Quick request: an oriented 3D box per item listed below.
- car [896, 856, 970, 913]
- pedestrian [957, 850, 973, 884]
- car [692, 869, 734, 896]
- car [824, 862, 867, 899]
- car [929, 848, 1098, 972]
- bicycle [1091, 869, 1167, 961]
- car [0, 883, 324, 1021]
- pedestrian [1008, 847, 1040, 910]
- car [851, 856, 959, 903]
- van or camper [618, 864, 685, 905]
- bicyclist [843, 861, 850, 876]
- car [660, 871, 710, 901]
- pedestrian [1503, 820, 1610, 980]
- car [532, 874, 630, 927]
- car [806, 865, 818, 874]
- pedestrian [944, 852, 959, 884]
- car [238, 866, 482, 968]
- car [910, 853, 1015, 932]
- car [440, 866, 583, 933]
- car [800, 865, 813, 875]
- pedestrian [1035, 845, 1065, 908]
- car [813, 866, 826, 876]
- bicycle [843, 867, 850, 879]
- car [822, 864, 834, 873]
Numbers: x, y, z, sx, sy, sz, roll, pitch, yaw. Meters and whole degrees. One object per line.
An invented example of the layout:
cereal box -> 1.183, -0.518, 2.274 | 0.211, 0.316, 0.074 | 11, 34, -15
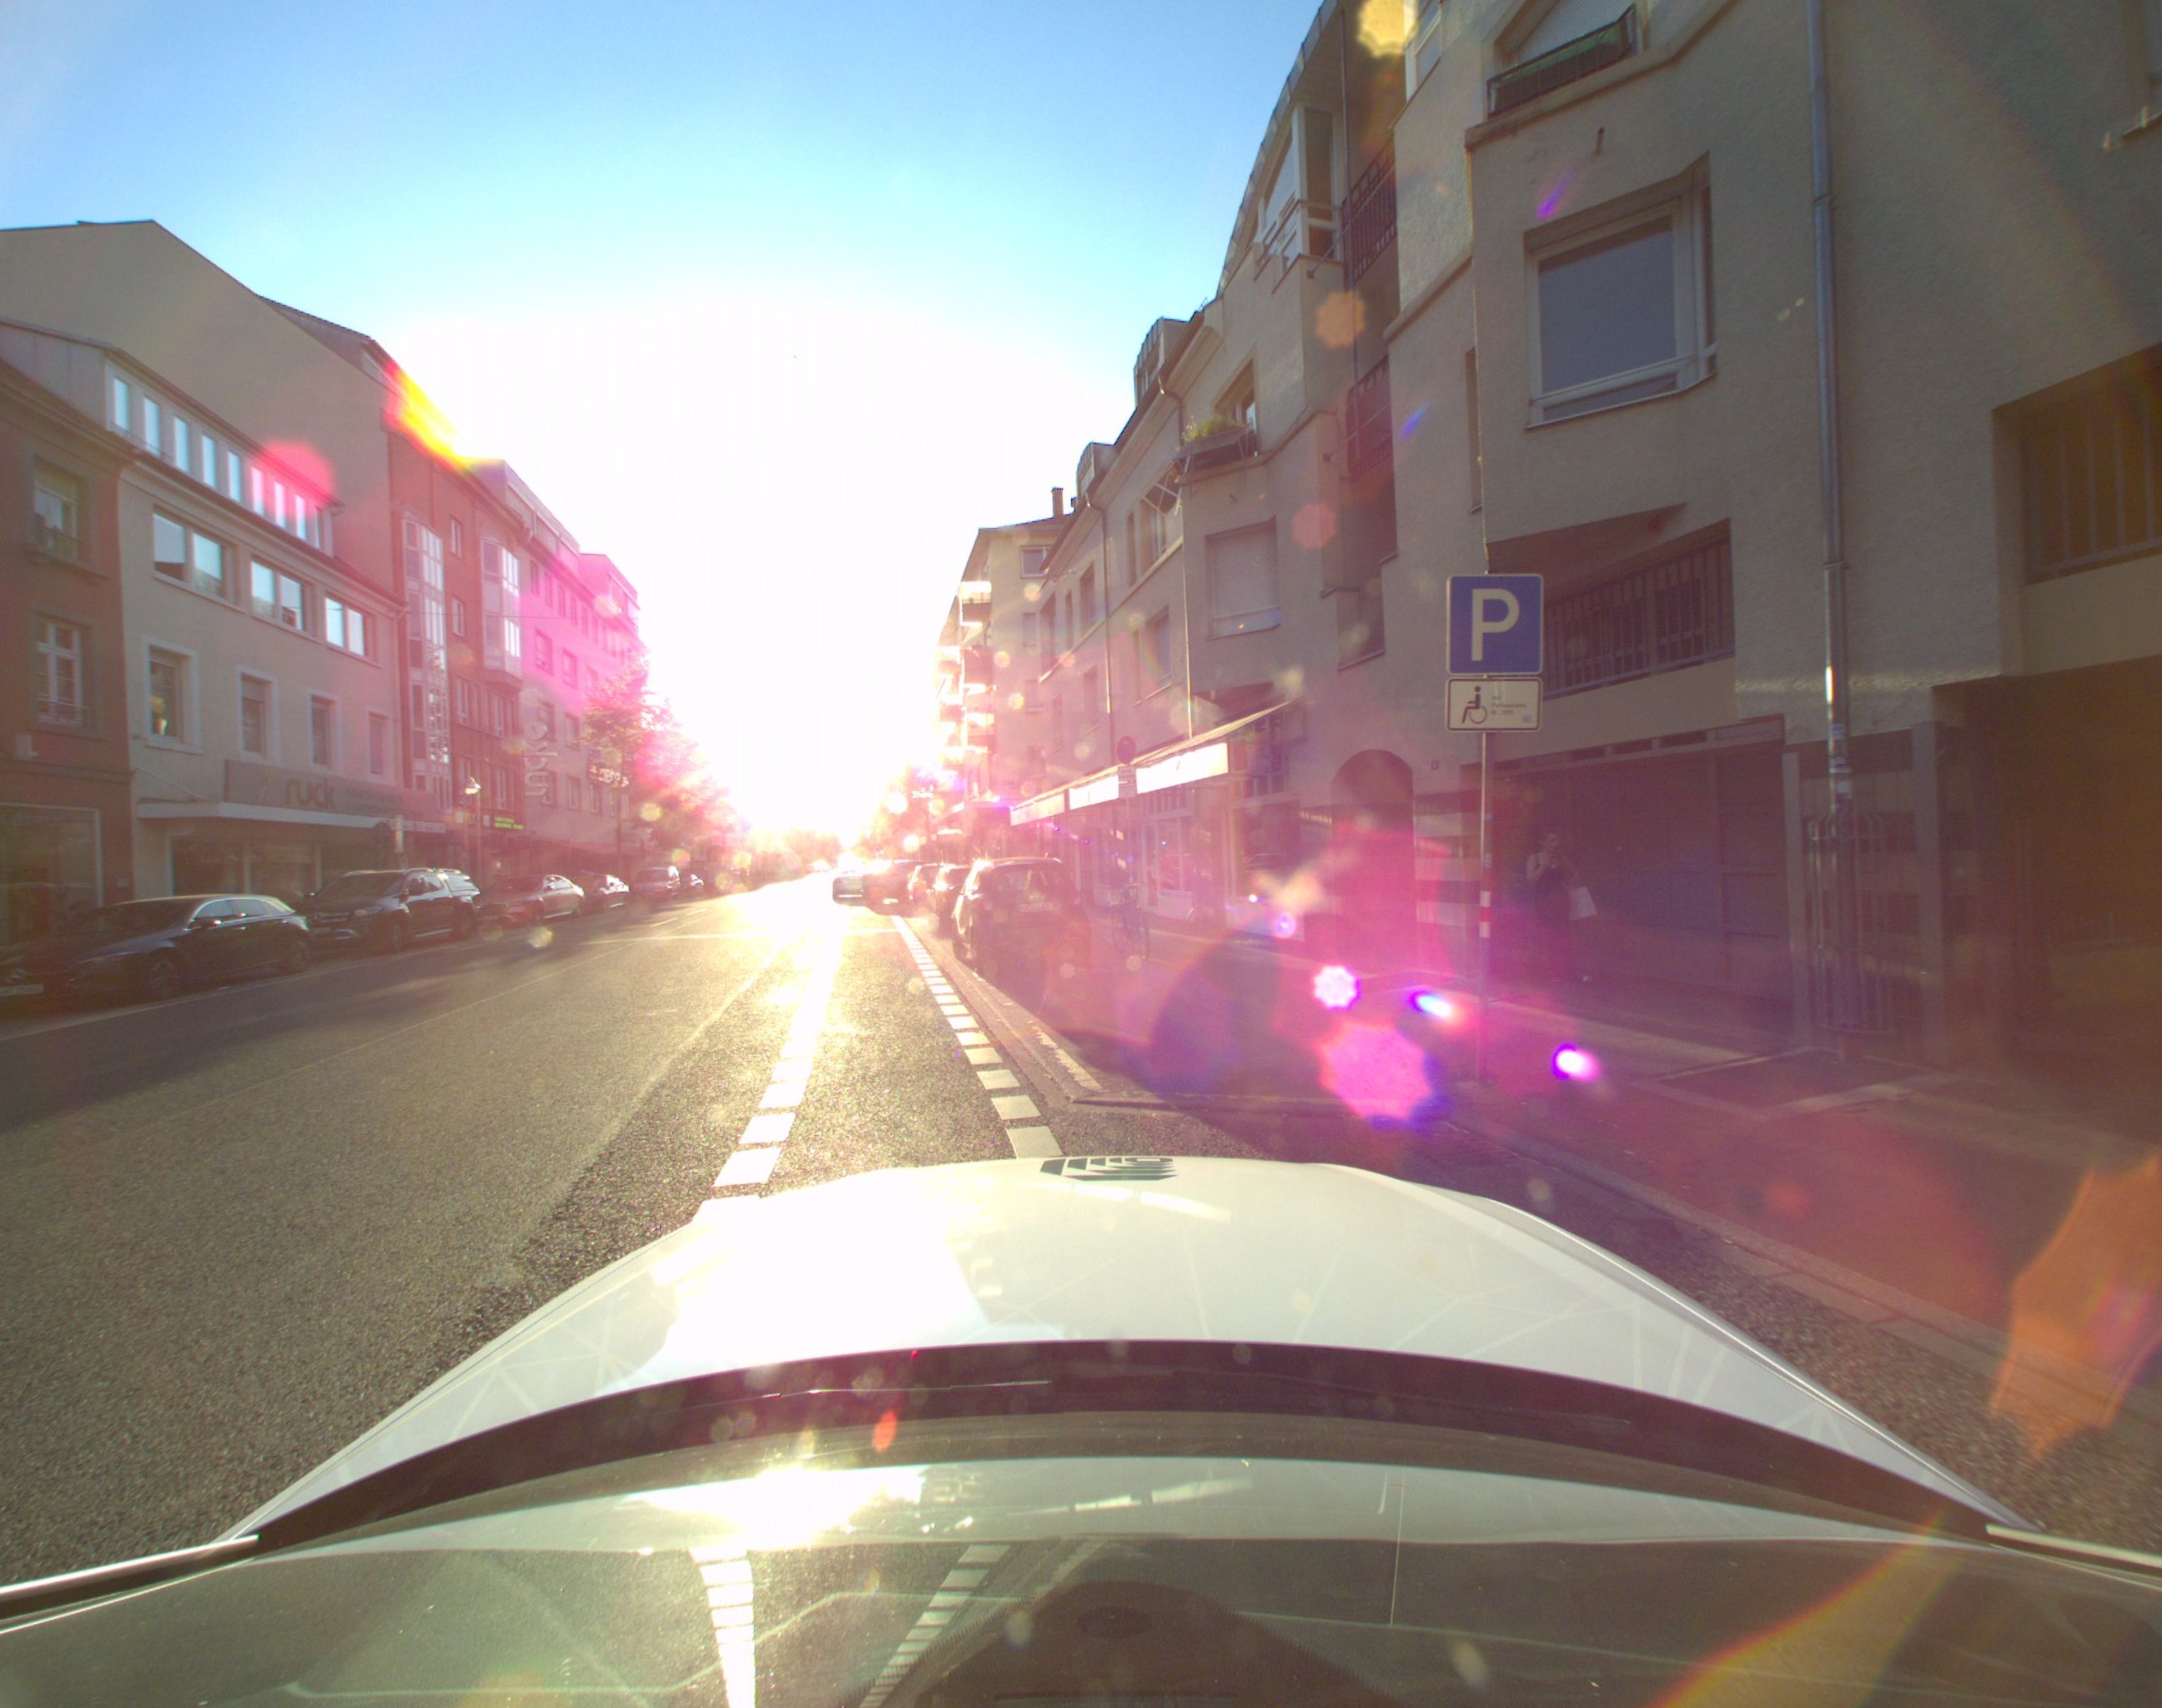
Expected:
car -> -4.739, 0.890, 25.674 | 1.794, 1.580, 3.764 | -2, 0, -18
pedestrian -> -6.411, 0.708, 44.963 | 0.719, 1.791, 0.663 | -3, 0, -15
car -> -22.762, 1.746, 50.452 | 1.692, 1.502, 3.768 | -2, 0, -14
car -> -10.361, 1.120, 35.996 | 1.692, 1.503, 3.768 | 0, 0, -14
car -> -1.237, 0.757, 12.942 | 1.794, 1.580, 3.943 | -2, 0, -18
bicycle -> 0.677, 0.851, 12.184 | 0.559, 1.206, 1.968 | -2, 0, -13
car -> -13.858, 1.324, 12.268 | 1.689, 1.488, 4.386 | -5, 1, -16
pedestrian -> -1.608, 0.673, 22.829 | 0.631, 1.700, 1.034 | -3, 0, -16
car -> -6.713, 0.933, 31.508 | 1.856, 1.697, 4.346 | -1, 0, 24
van or camper -> -20.926, 1.421, 39.844 | 1.791, 1.773, 4.536 | -2, 0, -14
bicyclist -> -25.819, 1.619, 89.668 | 0.547, 1.580, 0.799 | -3, 0, -13
car -> -22.117, 1.752, 45.595 | 1.692, 1.502, 3.768 | -2, 0, -14
pedestrian -> 4.849, 0.458, 8.342 | 0.771, 1.572, 0.535 | -2, 0, 11
car -> -18.615, 1.677, 30.564 | 1.998, 1.655, 4.455 | -2, 0, -16
car -> -47.353, 2.734, 143.241 | 1.692, 1.502, 3.768 | -2, 0, -14
pedestrian -> -7.460, 0.799, 46.797 | 0.719, 1.791, 0.663 | -3, 0, -15
car -> -15.652, 1.234, 18.156 | 1.999, 1.777, 5.287 | -3, 0, -18
car -> -2.865, 0.814, 19.005 | 1.794, 1.580, 3.764 | -2, 0, -18
car -> -16.934, 1.282, 24.530 | 1.997, 1.655, 4.604 | -3, 0, -15
car -> -45.605, 2.680, 135.287 | 1.692, 1.502, 3.768 | -2, 0, -14
pedestrian -> -0.874, 0.617, 22.829 | 0.561, 1.700, 0.827 | -3, 0, -16
car -> -43.614, 2.803, 135.793 | 1.692, 1.502, 3.768 | -2, 0, -14
bicycle -> -25.827, 2.117, 89.673 | 0.664, 1.243, 2.121 | 0, 0, -13
car -> -44.543, 2.578, 143.454 | 1.692, 1.502, 3.768 | -2, 0, -14
